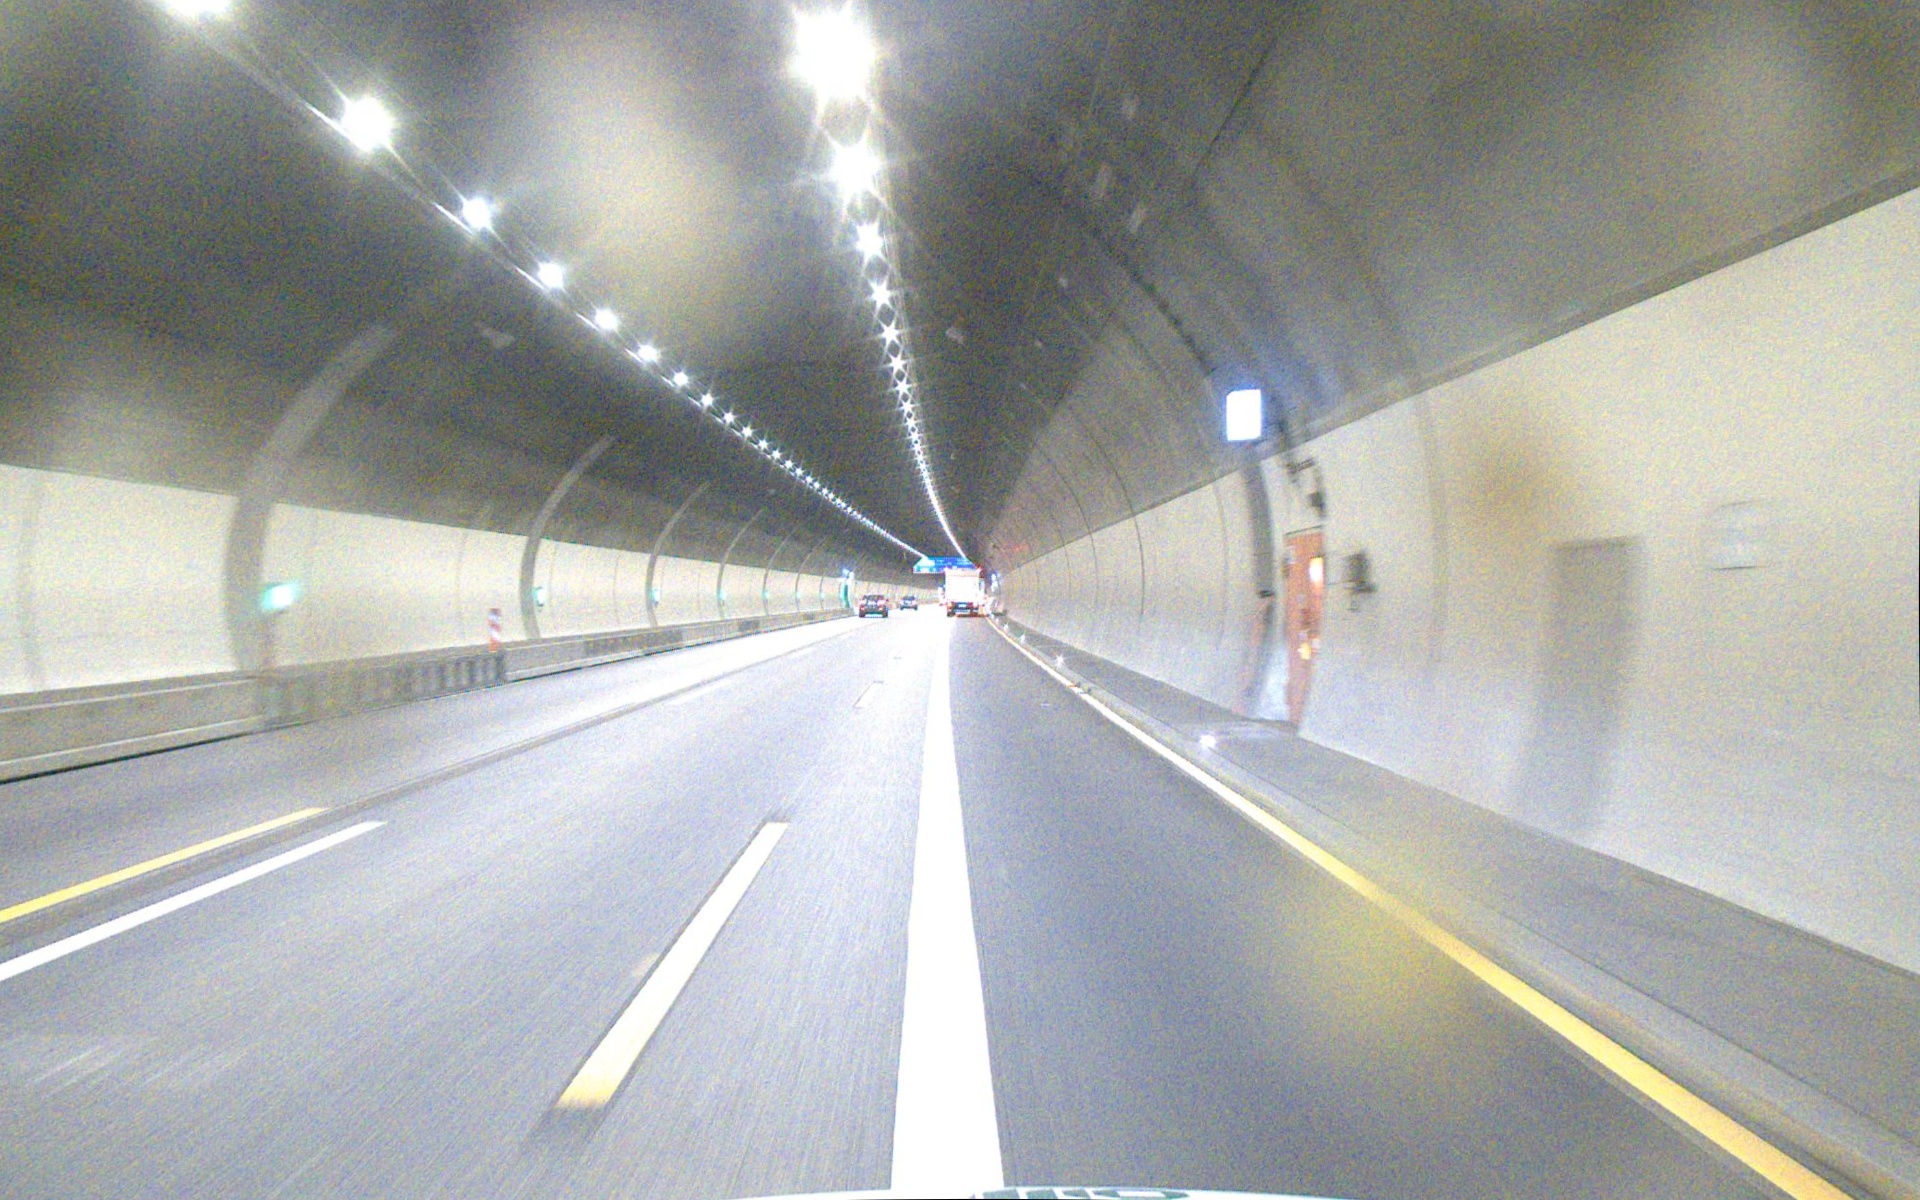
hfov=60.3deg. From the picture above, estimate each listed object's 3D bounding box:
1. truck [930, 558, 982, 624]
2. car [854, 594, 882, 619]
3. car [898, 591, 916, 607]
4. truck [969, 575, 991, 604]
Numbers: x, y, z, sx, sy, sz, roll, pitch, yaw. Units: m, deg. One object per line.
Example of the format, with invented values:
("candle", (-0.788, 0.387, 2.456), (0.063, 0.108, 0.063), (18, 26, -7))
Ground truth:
("truck", (-0.450, -0.691, 128.502), (3.213, 4.731, 17.277), (-1, 0, -3))
("car", (-6.176, 0.405, 111.391), (1.776, 1.646, 3.999), (0, 1, -1))
("car", (-5.311, -0.104, 166.496), (1.776, 1.546, 3.999), (0, 2, -3))
("truck", (2.999, -1.553, 248.830), (2.863, 4.118, 14.027), (-1, 0, -1))
